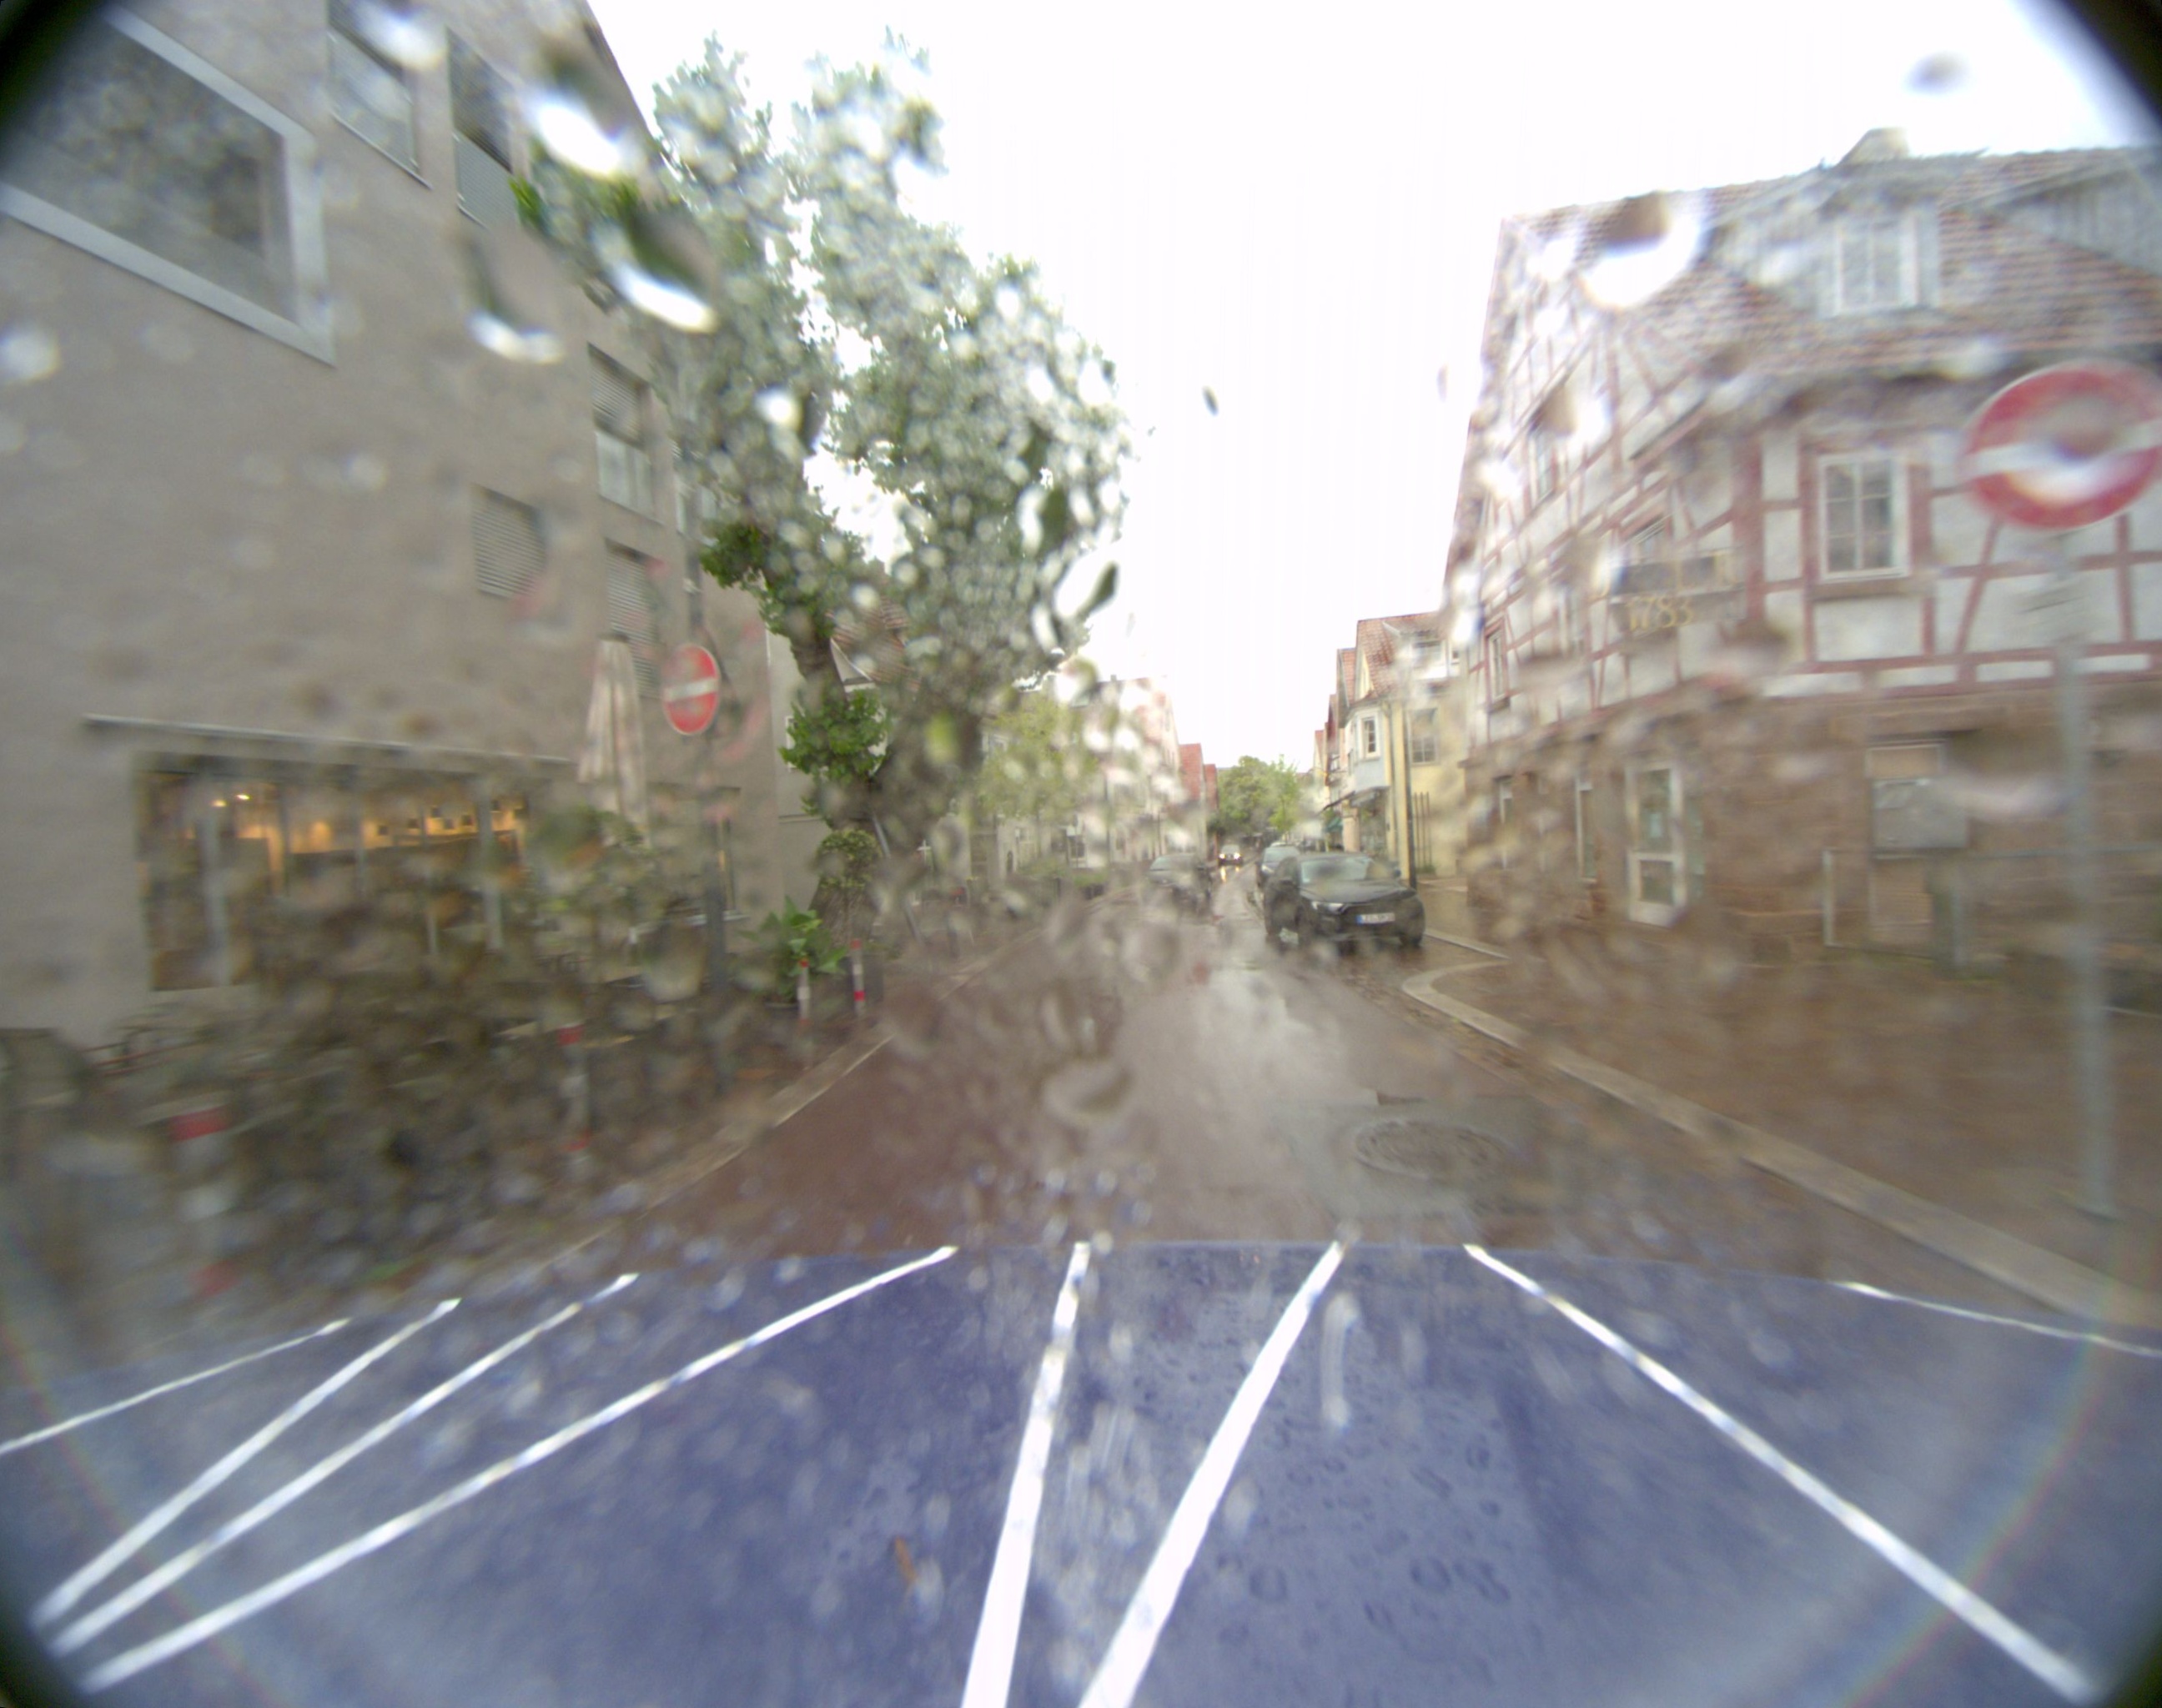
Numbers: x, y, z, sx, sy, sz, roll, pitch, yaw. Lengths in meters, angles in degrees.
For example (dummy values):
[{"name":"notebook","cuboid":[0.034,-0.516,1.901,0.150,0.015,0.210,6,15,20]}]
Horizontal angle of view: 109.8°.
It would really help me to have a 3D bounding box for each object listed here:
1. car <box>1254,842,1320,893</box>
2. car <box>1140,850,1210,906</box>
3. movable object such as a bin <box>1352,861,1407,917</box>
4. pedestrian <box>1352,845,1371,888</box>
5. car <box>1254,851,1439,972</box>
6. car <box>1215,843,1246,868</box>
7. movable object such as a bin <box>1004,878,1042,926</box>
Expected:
[{"name":"car","cuboid":[7.367,0.433,27.468,1.997,1.520,4.003,-5,0,12]},{"name":"car","cuboid":[3.048,0.694,24.027,1.735,1.547,3.848,-2,1,13]},{"name":"movable object such as a bin","cuboid":[6.369,0.738,16.247,0.834,1.105,0.919,-2,1,5]},{"name":"pedestrian","cuboid":[8.718,0.372,23.605,0.454,1.300,0.518,-2,1,13]},{"name":"car","cuboid":[4.097,0.786,12.437,1.693,1.477,4.000,-5,1,3]},{"name":"car","cuboid":[11.470,0.069,58.145,1.996,1.740,4.004,-2,1,16]},{"name":"movable object such as a bin","cuboid":[-1.377,1.140,18.141,0.765,1.068,0.538,-2,1,8]}]
